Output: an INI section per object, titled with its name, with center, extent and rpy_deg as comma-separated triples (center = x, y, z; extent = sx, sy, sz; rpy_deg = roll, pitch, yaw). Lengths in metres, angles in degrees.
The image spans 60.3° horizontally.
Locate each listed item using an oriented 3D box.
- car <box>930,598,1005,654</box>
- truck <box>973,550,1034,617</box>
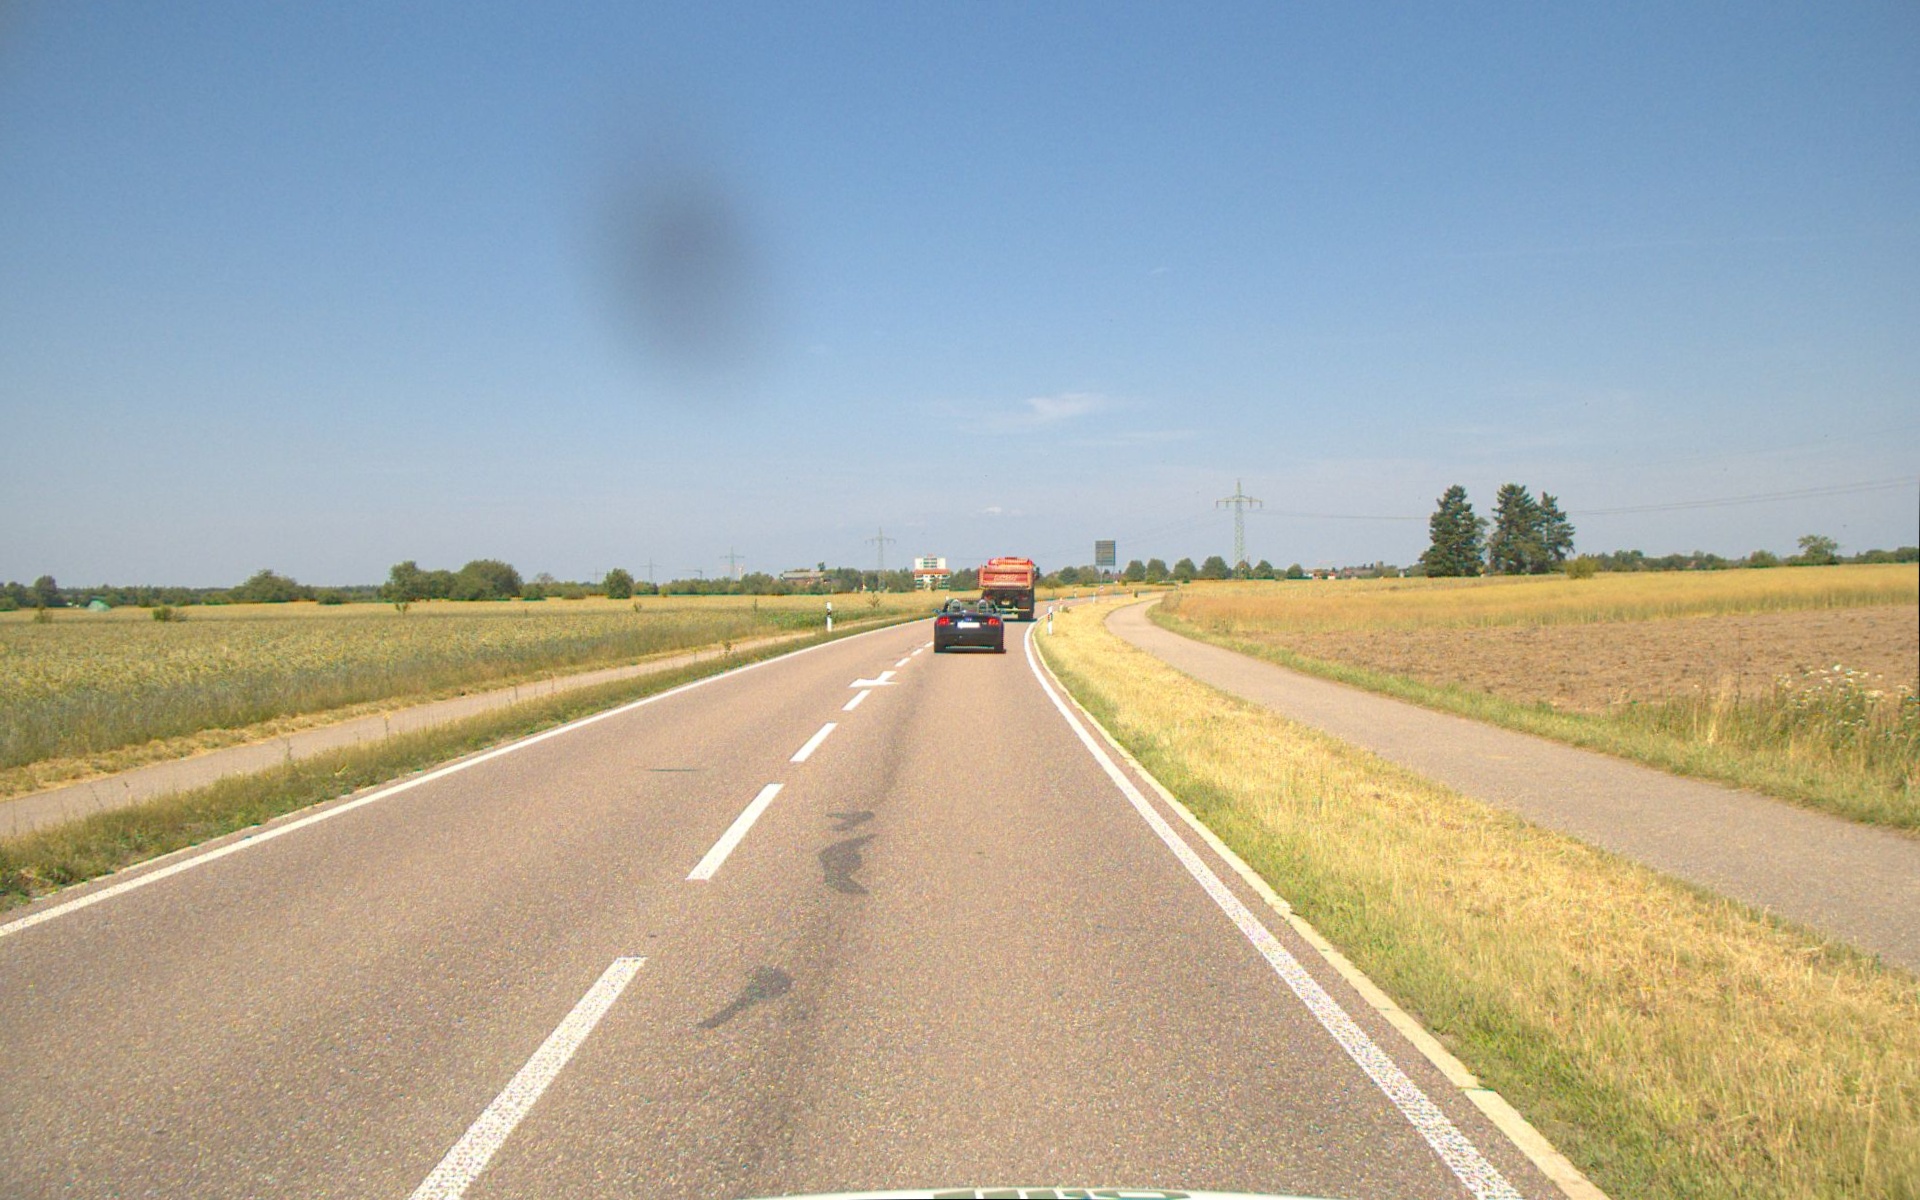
[car]
center = 0.228, 0.616, 41.177
extent = 1.707, 1.302, 4.001
rpy_deg = 0, 0, 2
[truck]
center = 2.186, -0.770, 82.049
extent = 2.877, 3.143, 7.198
rpy_deg = 0, 0, 2
